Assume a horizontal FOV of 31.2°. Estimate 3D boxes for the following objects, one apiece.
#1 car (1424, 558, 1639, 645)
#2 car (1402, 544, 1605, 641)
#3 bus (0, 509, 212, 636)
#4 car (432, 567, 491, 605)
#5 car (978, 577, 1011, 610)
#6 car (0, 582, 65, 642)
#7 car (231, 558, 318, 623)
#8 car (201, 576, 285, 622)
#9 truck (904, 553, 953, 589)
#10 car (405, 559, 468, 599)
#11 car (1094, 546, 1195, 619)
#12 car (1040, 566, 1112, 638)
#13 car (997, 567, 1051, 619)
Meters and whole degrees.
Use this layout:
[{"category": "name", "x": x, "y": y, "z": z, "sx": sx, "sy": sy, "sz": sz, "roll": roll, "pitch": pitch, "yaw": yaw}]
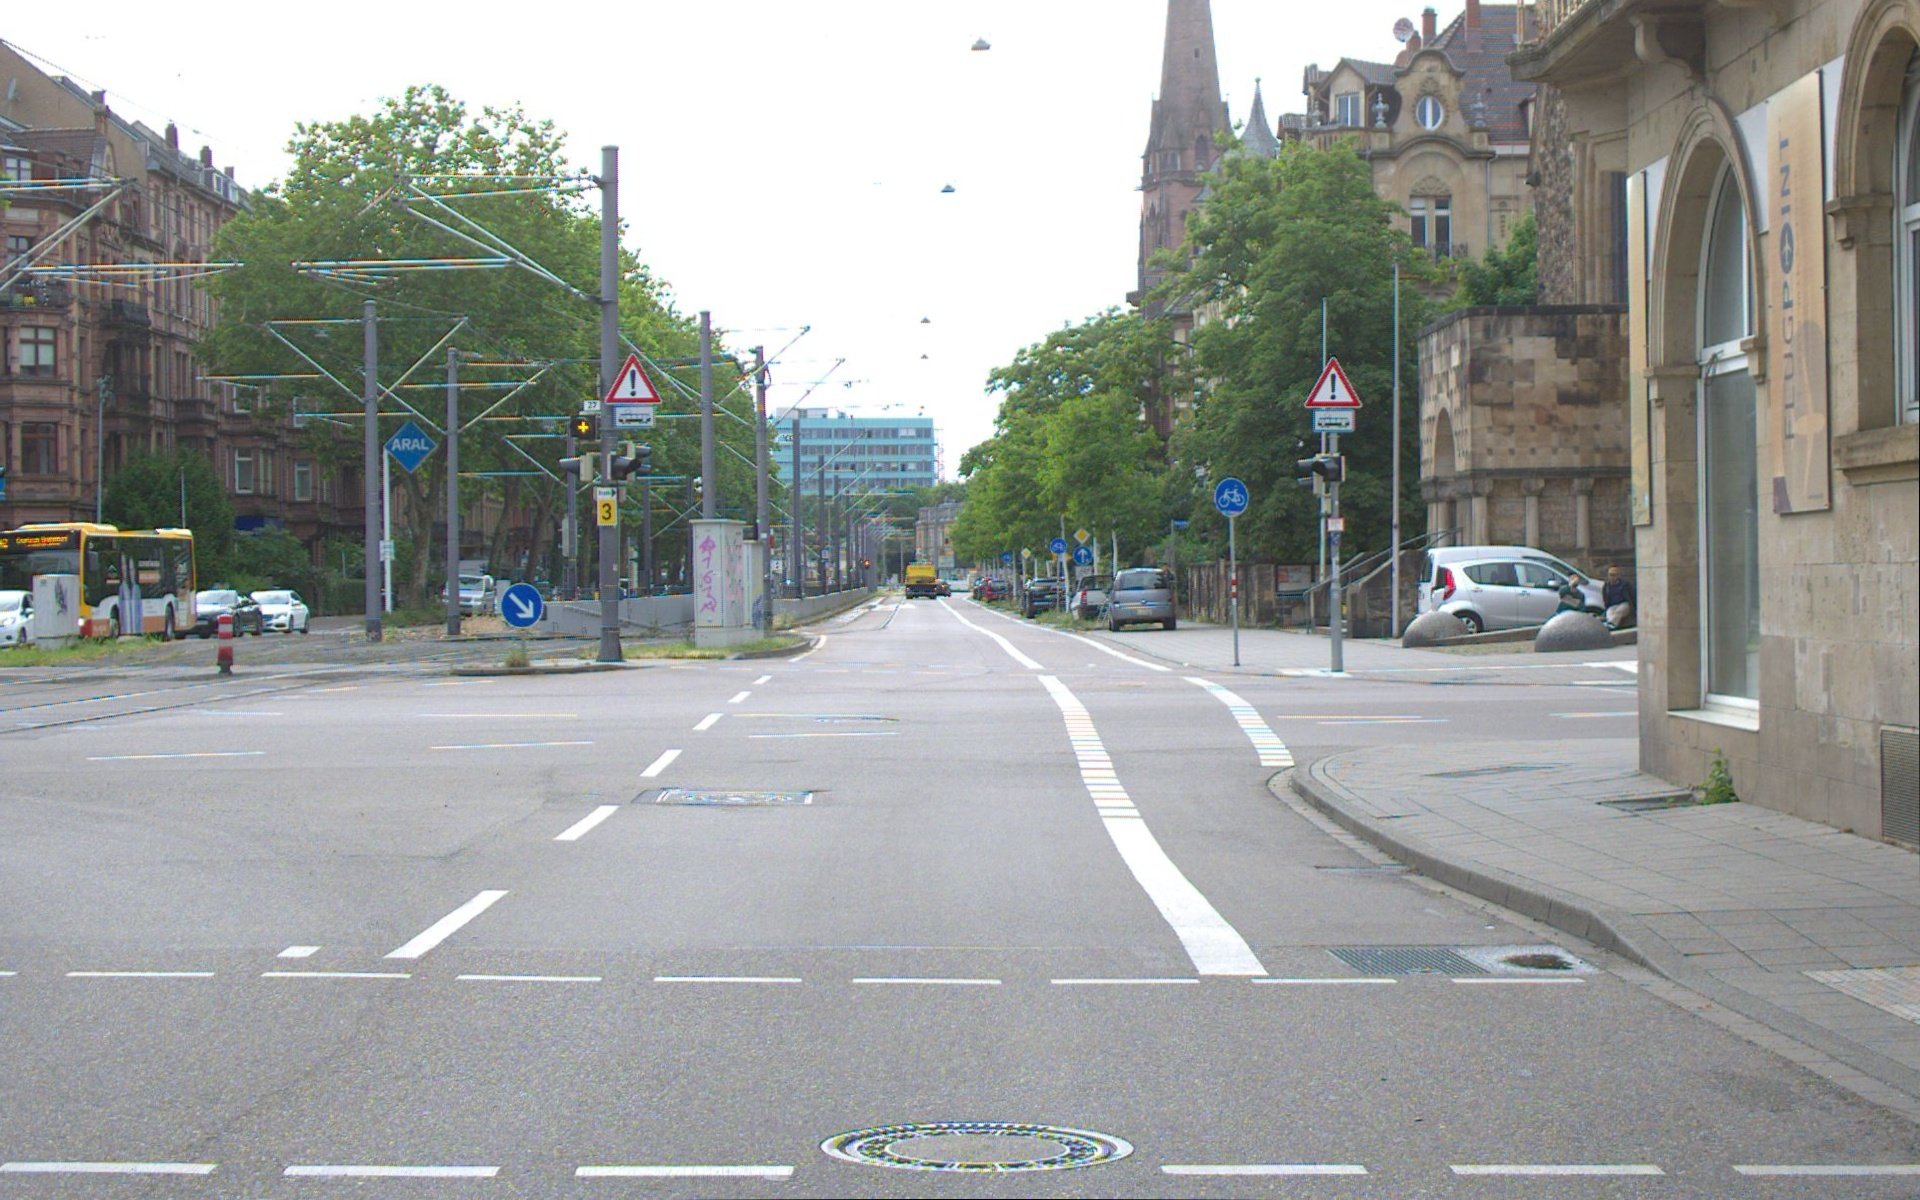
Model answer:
[{"category": "car", "x": 10.758, "y": 0.017, "z": 64.914, "sx": 3.713, "sy": 1.558, "sz": 2.000, "roll": 1, "pitch": 0, "yaw": 0}, {"category": "car", "x": 10.787, "y": -0.161, "z": 68.419, "sx": 3.713, "sy": 1.849, "sz": 2.000, "roll": 1, "pitch": 0, "yaw": 0}, {"category": "bus", "x": -22.485, "y": -0.730, "z": 89.107, "sx": 3.231, "sy": 3.025, "sz": 12.311, "roll": 1, "pitch": 1, "yaw": 1}, {"category": "car", "x": -21.638, "y": -0.638, "z": 149.350, "sx": 1.993, "sy": 1.605, "sz": 4.000, "roll": 1, "pitch": 1, "yaw": -1}, {"category": "car", "x": 2.181, "y": -0.402, "z": 216.850, "sx": 1.993, "sy": 2.007, "sz": 4.000, "roll": 1, "pitch": 1, "yaw": -1}, {"category": "car", "x": -21.917, "y": 0.260, "z": 79.058, "sx": 1.656, "sy": 1.316, "sz": 3.638, "roll": 1, "pitch": 1, "yaw": 1}, {"category": "car", "x": -21.846, "y": -0.320, "z": 109.615, "sx": 1.993, "sy": 2.007, "sz": 4.000, "roll": 1, "pitch": 1, "yaw": -1}, {"category": "car", "x": -21.295, "y": -0.048, "z": 102.248, "sx": 1.656, "sy": 1.316, "sz": 3.638, "roll": 1, "pitch": 1, "yaw": 1}, {"category": "truck", "x": -2.398, "y": -2.263, "z": 265.695, "sx": 3.055, "sy": 2.760, "sz": 9.814, "roll": 0, "pitch": 1, "yaw": 4}, {"category": "car", "x": -21.547, "y": -0.878, "z": 141.533, "sx": 1.993, "sy": 1.605, "sz": 4.000, "roll": 1, "pitch": 1, "yaw": -1}, {"category": "car", "x": 4.861, "y": -0.472, "z": 89.998, "sx": 1.994, "sy": 1.849, "sz": 4.024, "roll": 1, "pitch": 1, "yaw": 12}, {"category": "car", "x": 3.336, "y": 0.032, "z": 99.640, "sx": 1.993, "sy": 2.007, "sz": 4.000, "roll": 1, "pitch": 1, "yaw": 1}, {"category": "car", "x": 2.527, "y": -0.277, "z": 136.149, "sx": 1.993, "sy": 2.007, "sz": 4.000, "roll": 1, "pitch": 1, "yaw": -1}]
